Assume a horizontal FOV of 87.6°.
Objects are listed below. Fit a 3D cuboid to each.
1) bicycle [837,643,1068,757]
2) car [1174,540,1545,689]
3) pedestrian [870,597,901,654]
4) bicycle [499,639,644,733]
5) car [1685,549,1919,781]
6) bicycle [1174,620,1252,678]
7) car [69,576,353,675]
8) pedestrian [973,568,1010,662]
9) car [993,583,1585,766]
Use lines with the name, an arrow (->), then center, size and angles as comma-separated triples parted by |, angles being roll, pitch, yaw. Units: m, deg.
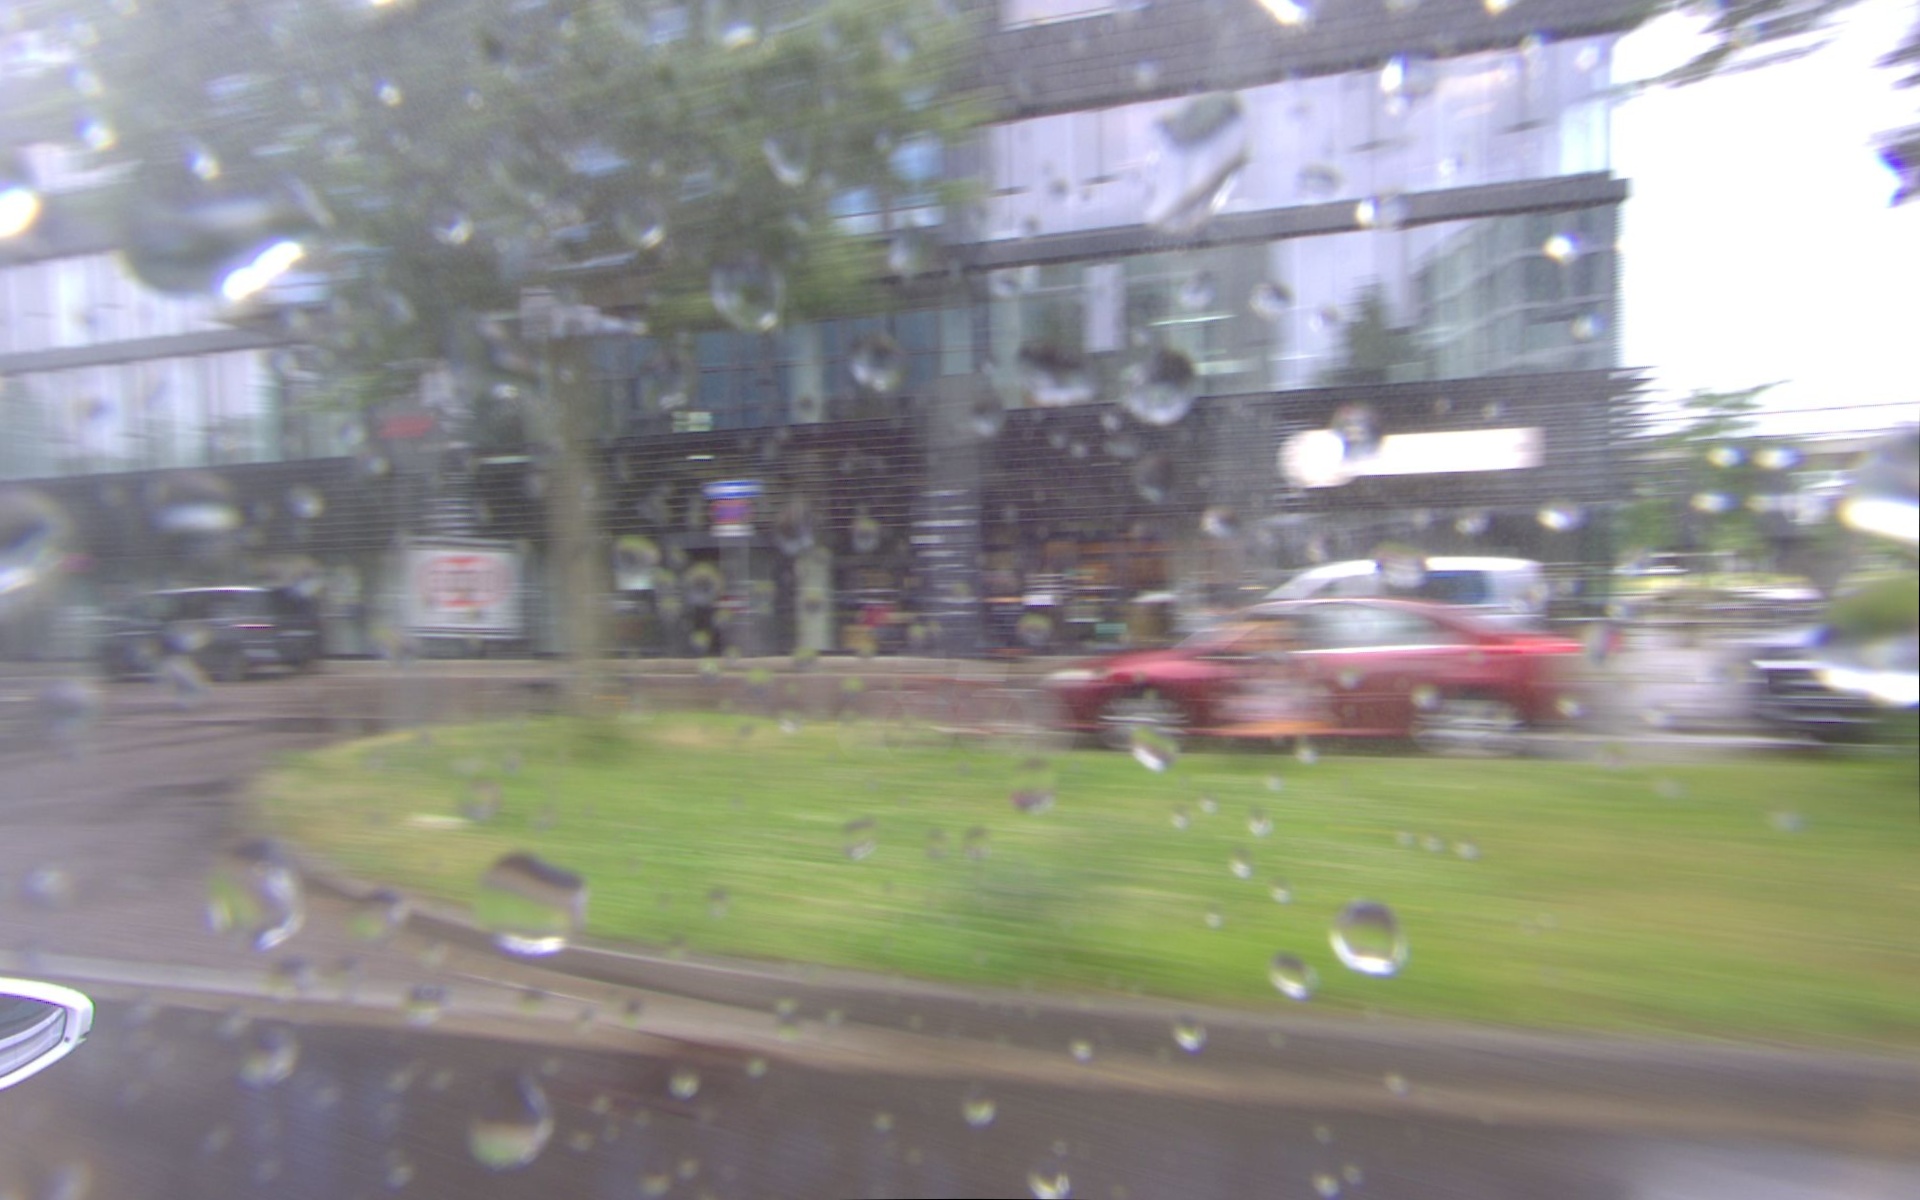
bicycle -> -0.063, 0.834, 8.475 | 1.877, 0.874, 0.574 | 1, 2, -1
car -> 5.478, 0.145, 14.401 | 4.634, 1.891, 1.897 | 1, 2, 12
pedestrian -> -1.676, 0.567, 22.484 | 0.444, 1.254, 0.578 | 0, 2, -33
bicycle -> -4.285, 0.923, 11.102 | 1.447, 0.930, 0.429 | 0, 2, -43
car -> 8.753, 0.502, 8.121 | 4.139, 1.731, 1.997 | 1, 2, 14
bicycle -> 4.189, 0.805, 16.628 | 1.208, 0.910, 0.437 | 1, 2, 11
car -> -15.850, 0.530, 21.274 | 5.053, 1.946, 1.998 | -1, 1, 13
pedestrian -> 0.623, 0.291, 20.031 | 0.567, 1.858, 0.505 | 0, 2, -21
car -> 2.924, 0.612, 9.652 | 4.868, 1.474, 1.997 | -1, 1, 15
